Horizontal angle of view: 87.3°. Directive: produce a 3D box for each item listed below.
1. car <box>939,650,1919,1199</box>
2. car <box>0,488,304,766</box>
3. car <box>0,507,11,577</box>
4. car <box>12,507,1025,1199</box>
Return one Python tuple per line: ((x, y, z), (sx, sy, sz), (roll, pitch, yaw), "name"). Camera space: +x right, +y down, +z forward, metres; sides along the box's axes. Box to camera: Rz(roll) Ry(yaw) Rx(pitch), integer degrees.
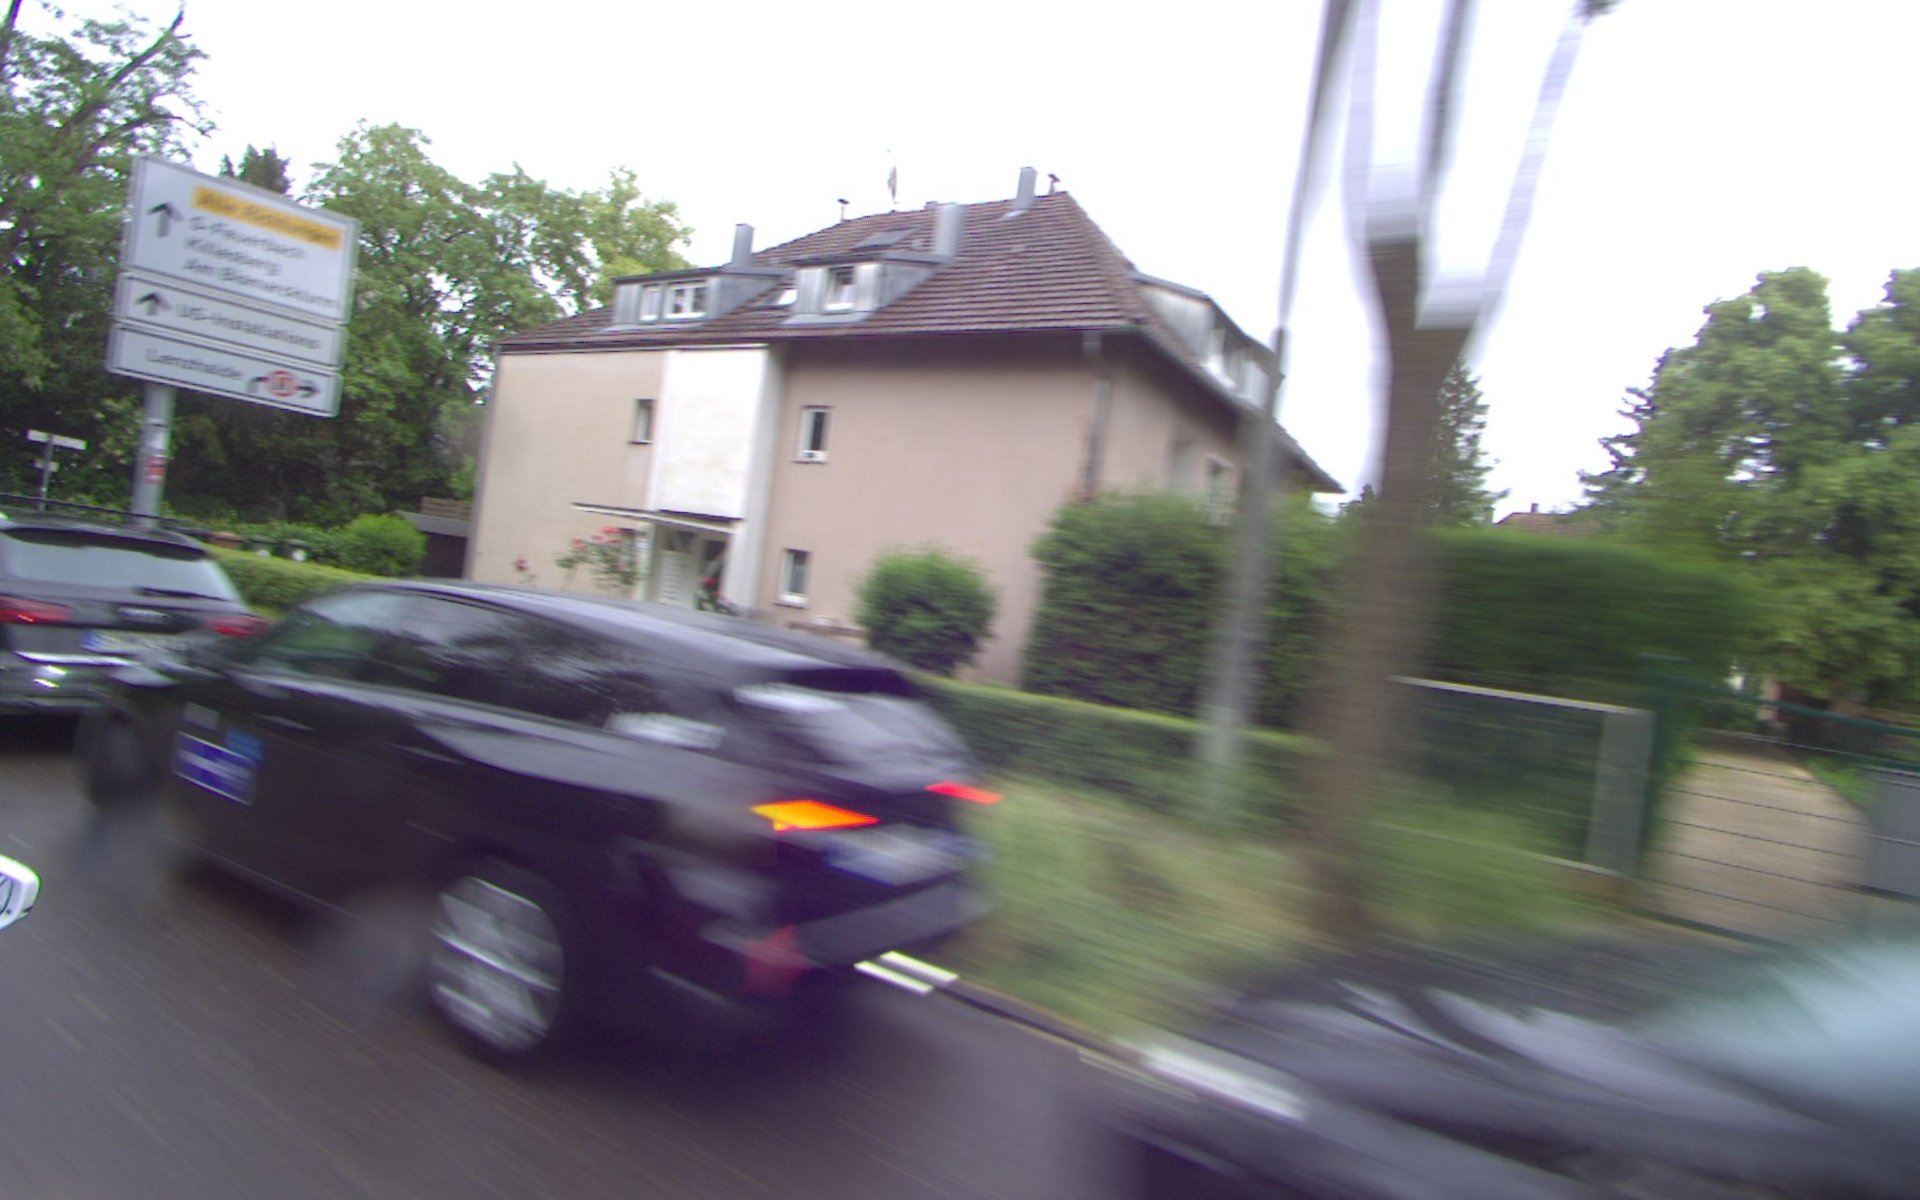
((2.083, 1.095, 1.485), (3.937, 1.426, 1.731), (7, -3, 35), "car")
((-7.034, -0.011, 7.395), (4.743, 1.543, 1.757), (7, -2, 32), "car")
((-11.314, -0.438, 10.055), (3.879, 1.487, 1.621), (7, -2, 32), "car")
((-2.095, 0.617, 4.317), (4.336, 1.484, 1.621), (7, -2, 31), "car")
